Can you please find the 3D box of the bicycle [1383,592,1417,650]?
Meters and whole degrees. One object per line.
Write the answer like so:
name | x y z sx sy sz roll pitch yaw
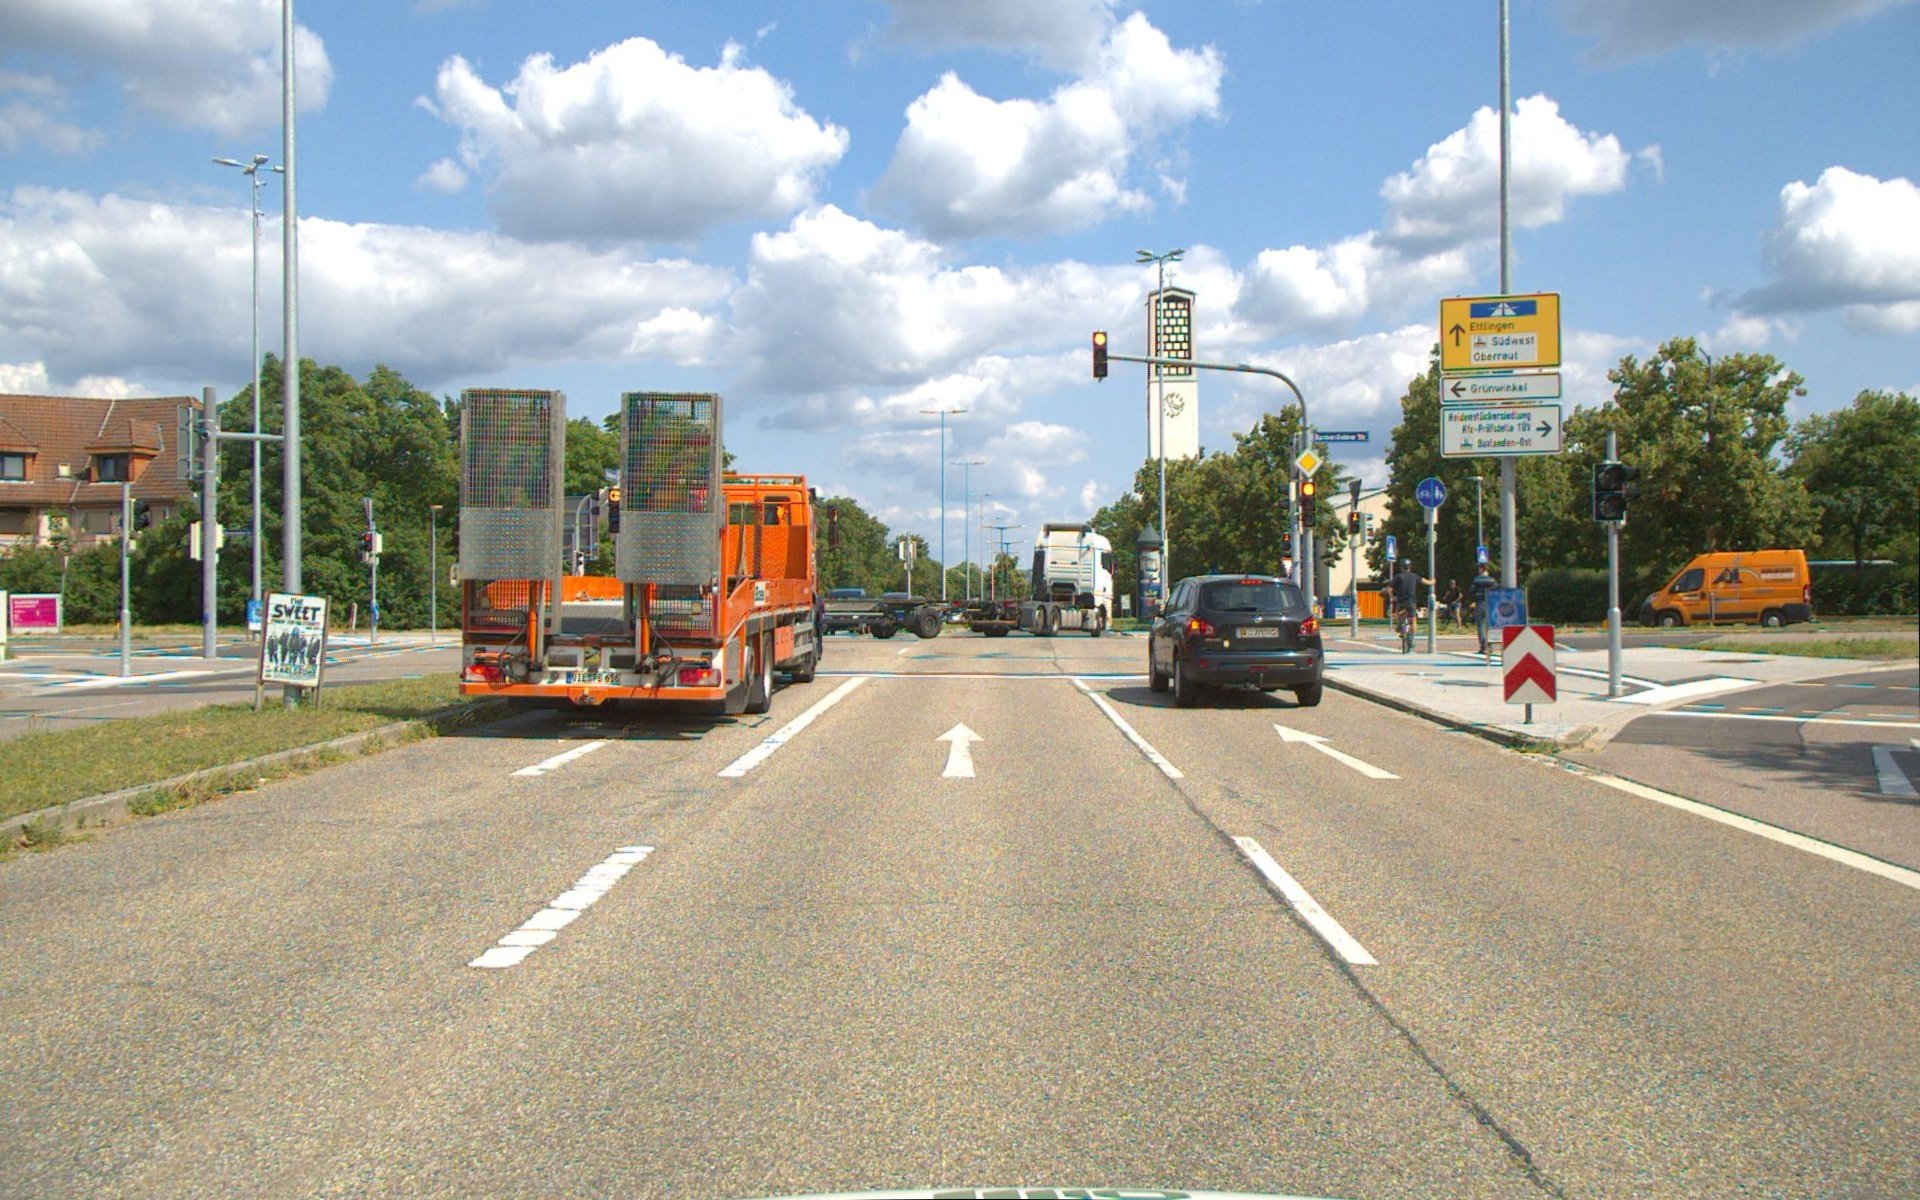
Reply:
bicycle | 8.907 0.420 33.463 0.634 1.127 1.929 1 -1 15

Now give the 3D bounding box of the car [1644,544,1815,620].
car | 24.097 -0.556 51.800 4.751 2.265 2.209 1 -1 28

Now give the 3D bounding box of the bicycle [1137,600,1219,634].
bicycle | 7.458 0.571 56.572 2.794 1.131 0.792 0 0 -23

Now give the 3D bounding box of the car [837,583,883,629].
car | -3.894 0.252 64.669 1.700 1.689 4.228 1 -1 -3

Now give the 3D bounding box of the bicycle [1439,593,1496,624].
bicycle | 18.714 0.306 61.053 1.954 1.113 0.686 0 0 12

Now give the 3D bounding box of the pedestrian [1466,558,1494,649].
pedestrian | 10.480 0.080 33.314 0.454 1.810 0.482 1 -1 11

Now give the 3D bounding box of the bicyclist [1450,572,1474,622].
bicyclist | 18.536 -0.110 61.095 0.770 1.836 0.686 0 0 12

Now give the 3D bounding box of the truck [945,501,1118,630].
truck | 2.601 -1.134 56.235 2.900 4.040 8.634 1 1 24

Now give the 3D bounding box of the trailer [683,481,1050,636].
trailer | -2.484 -1.133 48.878 11.228 4.082 3.575 0 1 -44

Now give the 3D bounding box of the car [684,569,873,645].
car | -4.026 0.179 37.206 1.820 1.601 4.194 1 -1 38

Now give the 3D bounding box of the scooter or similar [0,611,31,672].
scooter or similar | -19.180 0.818 32.745 0.577 1.184 1.761 1 -1 -1

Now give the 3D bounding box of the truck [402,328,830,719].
truck | -3.552 -0.650 20.557 3.008 3.474 11.066 1 0 0

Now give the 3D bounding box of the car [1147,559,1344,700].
car | 3.510 0.359 21.016 1.763 1.579 3.999 1 -1 -1

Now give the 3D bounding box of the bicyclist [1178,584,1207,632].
bicyclist | 7.963 0.274 56.780 0.689 1.644 0.792 0 0 -22

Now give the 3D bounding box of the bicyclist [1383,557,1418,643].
bicyclist | 8.867 -0.001 33.279 0.634 1.690 0.650 1 -1 15
